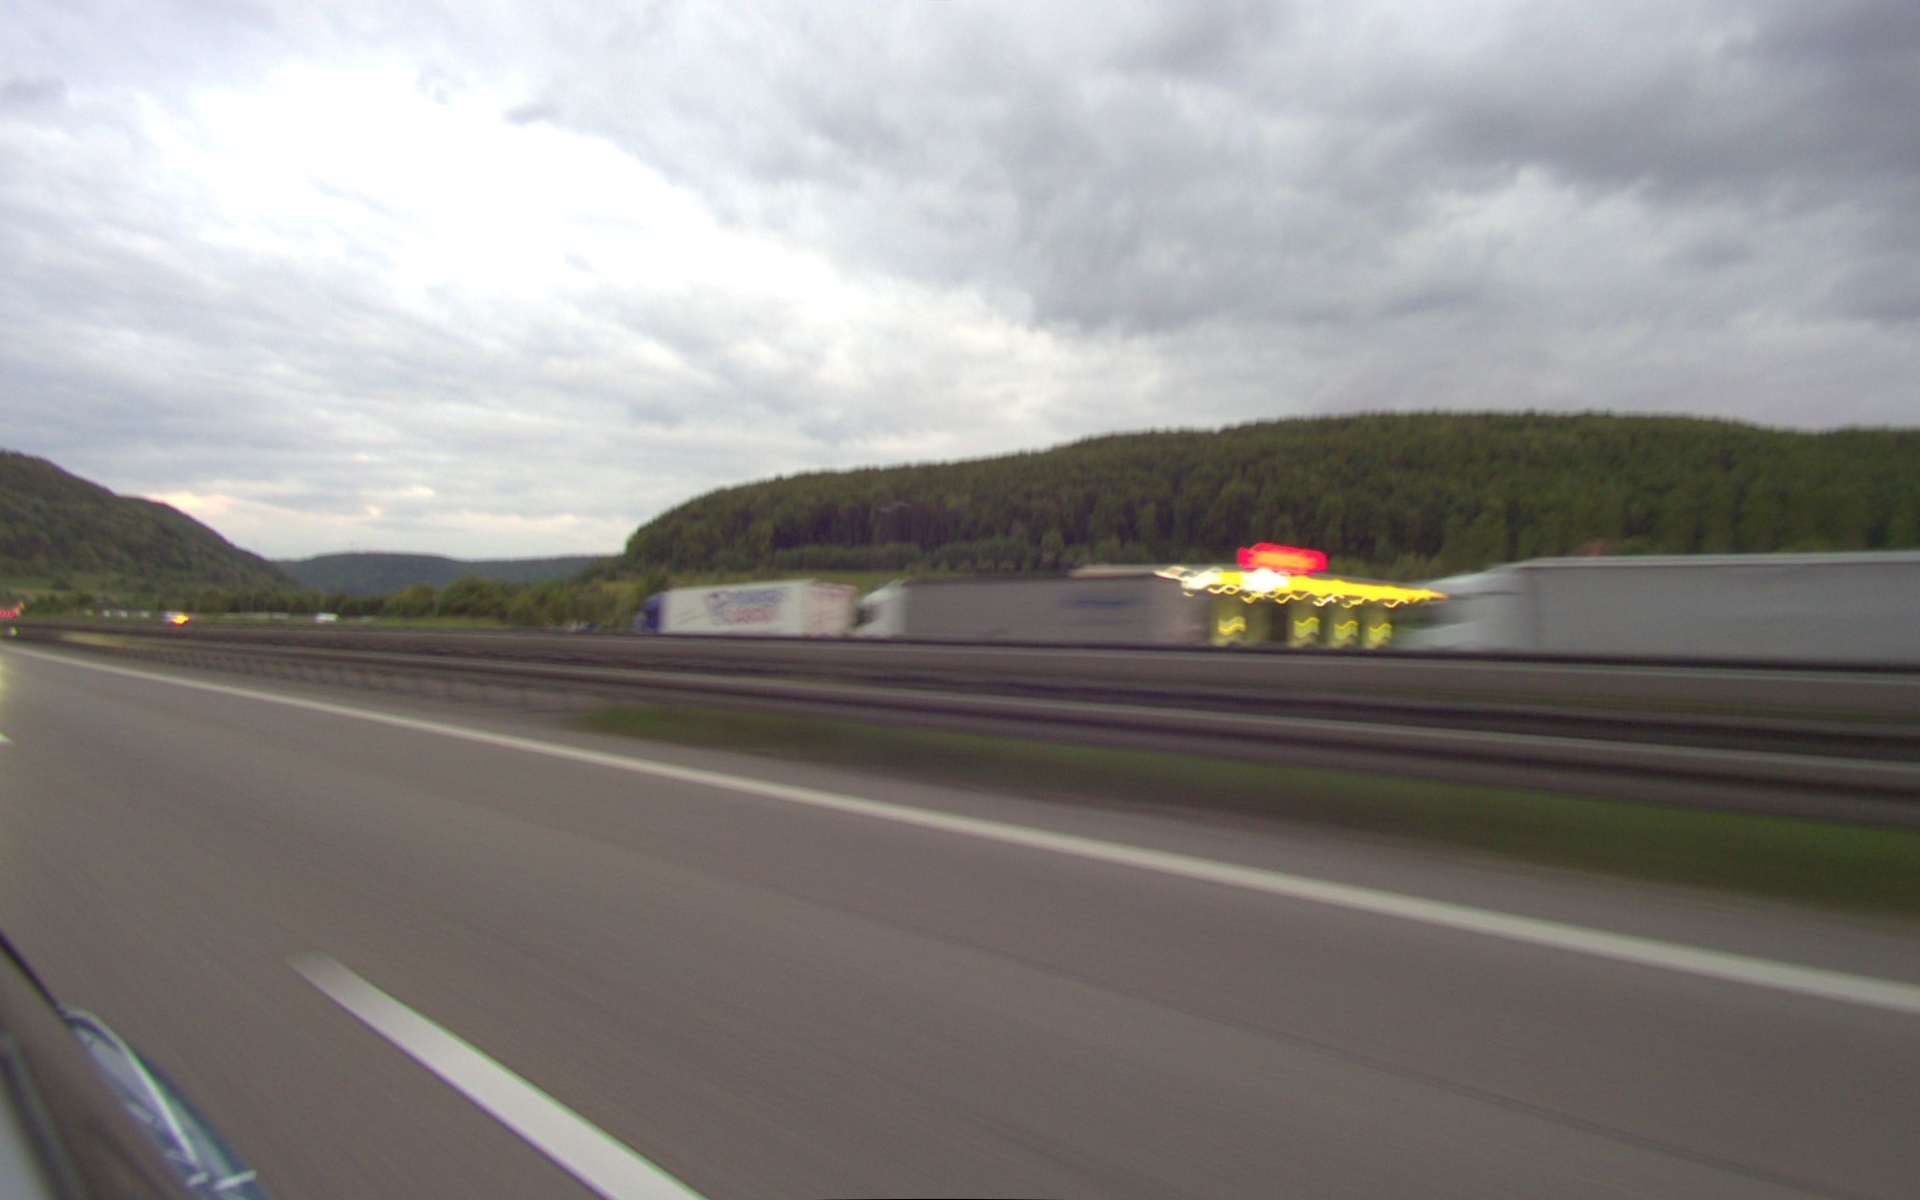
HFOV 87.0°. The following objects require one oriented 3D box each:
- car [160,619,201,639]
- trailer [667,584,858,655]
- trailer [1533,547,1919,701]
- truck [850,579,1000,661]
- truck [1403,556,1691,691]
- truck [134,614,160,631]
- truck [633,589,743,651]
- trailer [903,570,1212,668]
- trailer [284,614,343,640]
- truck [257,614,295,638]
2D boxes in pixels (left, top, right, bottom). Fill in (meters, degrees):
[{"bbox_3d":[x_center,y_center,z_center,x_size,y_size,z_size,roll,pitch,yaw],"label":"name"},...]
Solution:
[{"bbox_3d":[-63.905,2.367,82.952,4.741,1.605,1.972,-1,-1,43],"label":"car"},{"bbox_3d":[-10.964,1.048,54.537,13.223,3.451,2.842,-1,-1,43],"label":"trailer"},{"bbox_3d":[21.960,0.563,24.424,13.847,3.451,2.843,-1,-1,42],"label":"trailer"},{"bbox_3d":[-1.676,0.911,46.018,6.725,3.451,2.842,-1,-1,42],"label":"truck"},{"bbox_3d":[16.750,0.667,29.186,6.725,3.451,2.842,-1,-1,43],"label":"truck"},{"bbox_3d":[-152.990,4.223,190.395,5.891,3.112,2.836,-1,-2,42],"label":"truck"},{"bbox_3d":[-15.974,1.183,59.193,7.174,3.401,2.842,-1,-1,43],"label":"truck"},{"bbox_3d":[3.448,0.796,41.328,13.567,3.451,2.842,-1,-1,42],"label":"trailer"},{"bbox_3d":[-79.303,3.268,123.997,11.151,3.112,2.838,-1,-2,40],"label":"trailer"},{"bbox_3d":[-90.942,3.419,134.529,5.303,3.112,2.836,-1,-2,42],"label":"truck"}]
